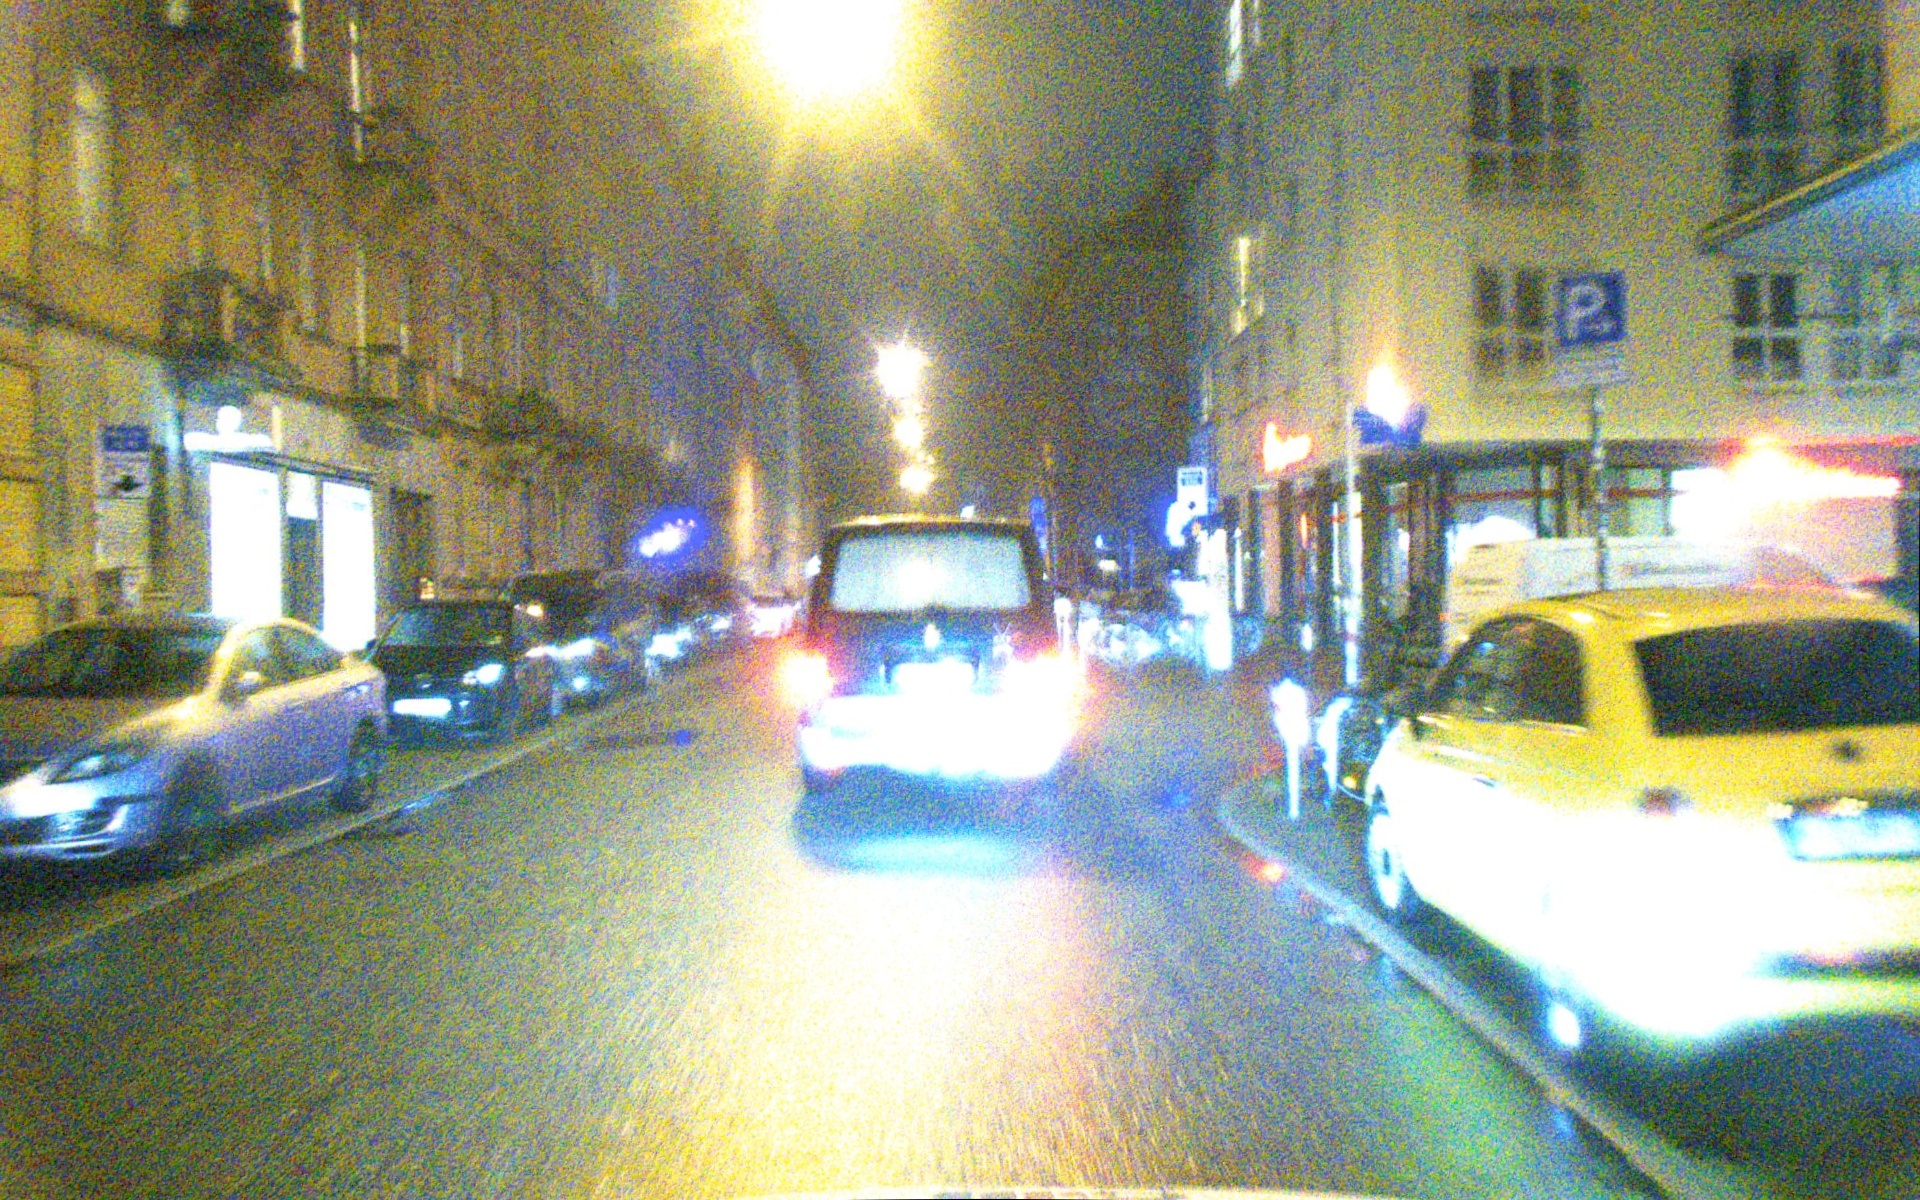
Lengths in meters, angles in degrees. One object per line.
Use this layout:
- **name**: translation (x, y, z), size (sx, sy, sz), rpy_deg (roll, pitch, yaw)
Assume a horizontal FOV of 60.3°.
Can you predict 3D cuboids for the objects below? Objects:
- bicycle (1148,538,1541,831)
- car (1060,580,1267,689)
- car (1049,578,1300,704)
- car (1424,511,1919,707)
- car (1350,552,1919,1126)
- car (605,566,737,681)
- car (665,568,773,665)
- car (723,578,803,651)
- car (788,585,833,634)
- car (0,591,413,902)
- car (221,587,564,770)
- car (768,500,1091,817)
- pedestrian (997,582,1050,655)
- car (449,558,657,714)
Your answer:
- **bicycle**: translation (2.449, 0.540, 10.746), size (2.271, 1.667, 0.889), rpy_deg (-5, -1, 10)
- **car**: translation (4.085, 0.700, 33.659), size (3.906, 2.049, 1.999), rpy_deg (-2, -1, -1)
- **car**: translation (3.787, 0.703, 29.373), size (3.925, 2.049, 1.990), rpy_deg (-1, -1, -18)
- **car**: translation (7.706, 0.076, 17.934), size (4.721, 1.956, 2.125), rpy_deg (0, 1, -9)
- **car**: translation (2.676, 0.670, 6.255), size (1.559, 1.570, 3.419), rpy_deg (0, -1, -1)
- **car**: translation (-5.493, 0.419, 31.908), size (1.953, 2.049, 3.998), rpy_deg (1, 0, -2)
- **car**: translation (-5.420, 0.360, 37.655), size (1.953, 2.049, 3.999), rpy_deg (1, 0, -2)
- **car**: translation (-5.800, 0.403, 49.054), size (1.953, 2.049, 3.999), rpy_deg (1, 0, -2)
- **car**: translation (-6.576, 0.404, 73.201), size (1.714, 2.049, 3.999), rpy_deg (1, 0, -2)
- **car**: translation (-5.113, 0.719, 10.533), size (1.718, 1.474, 4.622), rpy_deg (1, 1, 0)
- **car**: translation (-5.127, 0.647, 15.572), size (1.953, 1.474, 3.998), rpy_deg (1, 0, -2)
- **car**: translation (-0.318, 0.355, 12.997), size (2.080, 2.026, 4.598), rpy_deg (0, 0, -3)
- **pedestrian**: translation (1.540, 0.454, 40.003), size (1.201, 1.705, 0.697), rpy_deg (-2, -1, -1)
- **car**: translation (-5.398, 0.445, 22.457), size (1.954, 1.895, 4.092), rpy_deg (1, 0, -3)
